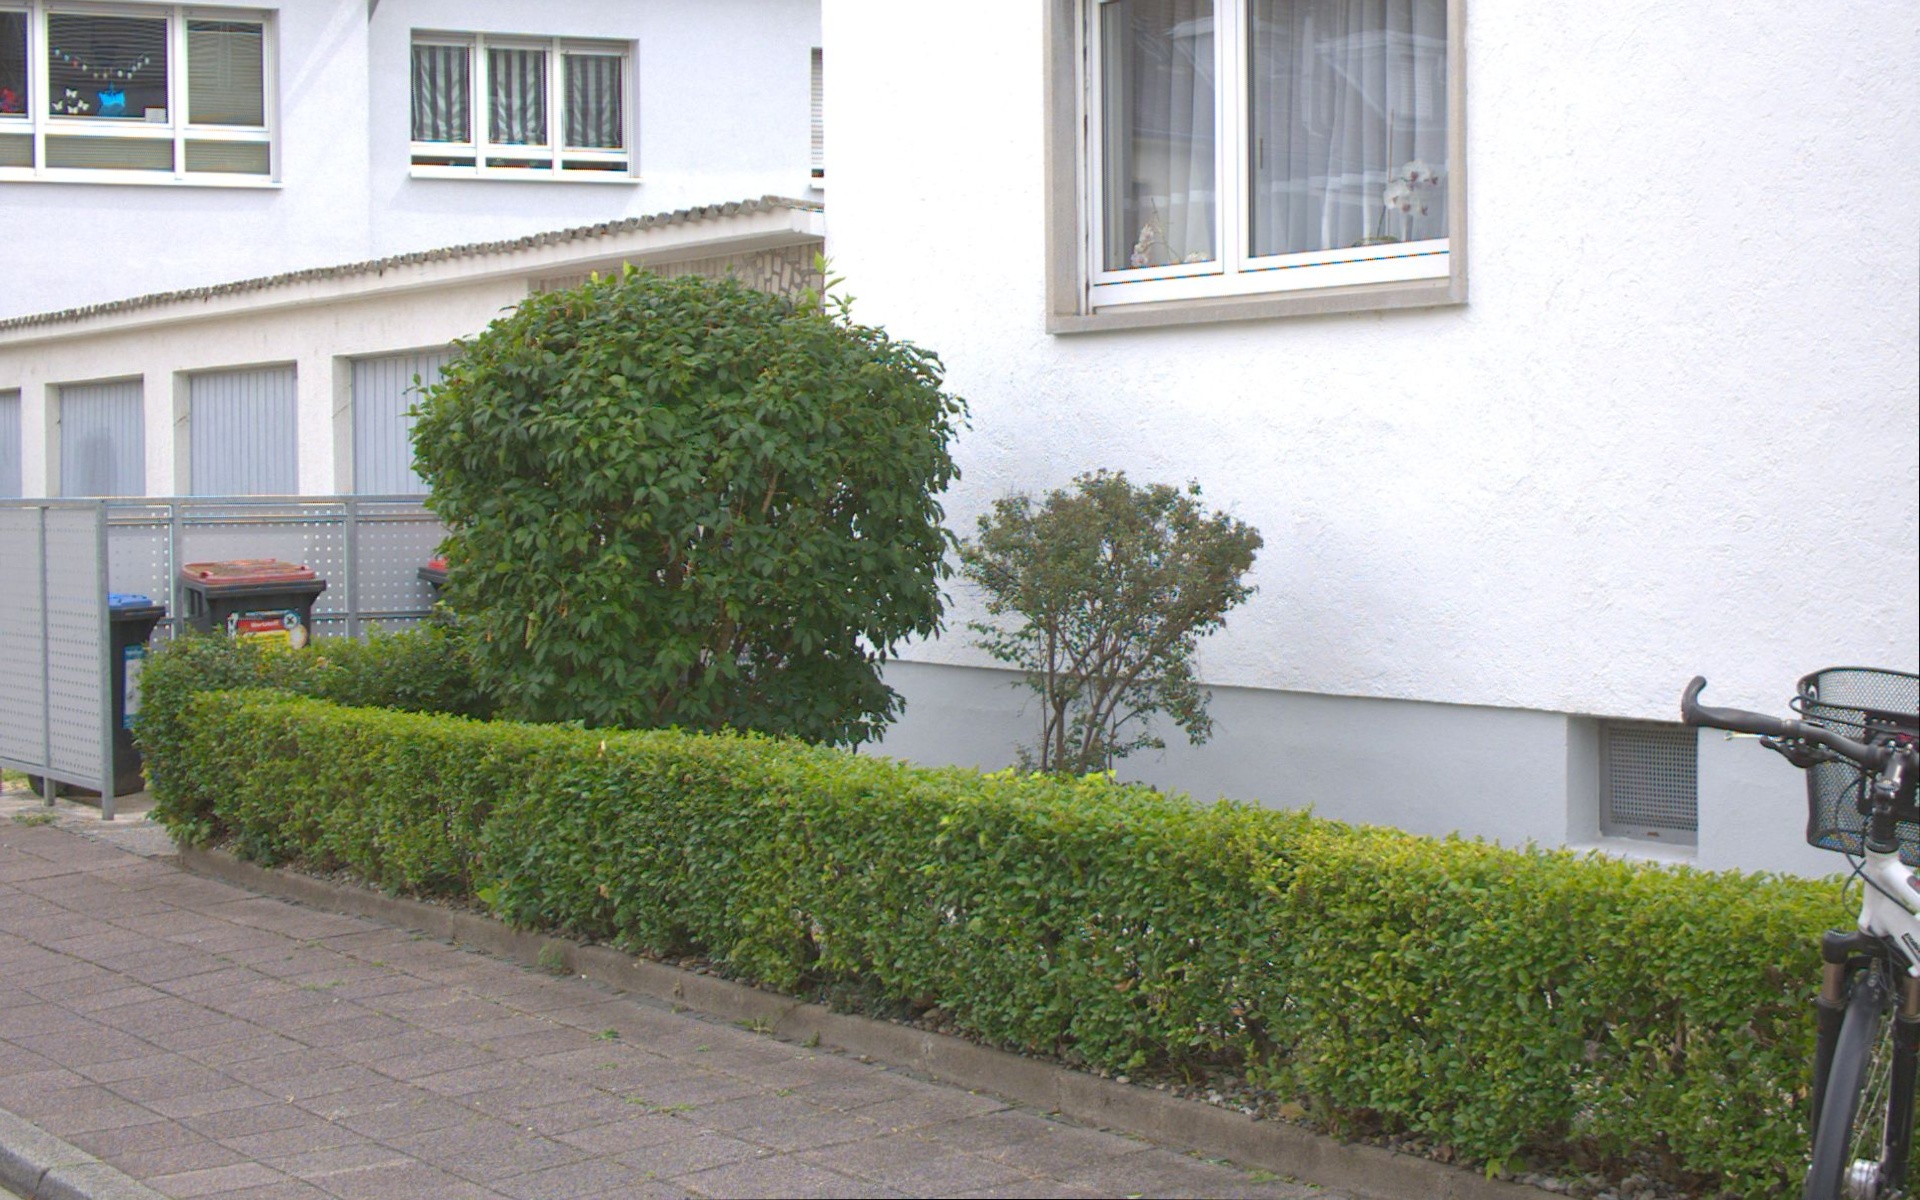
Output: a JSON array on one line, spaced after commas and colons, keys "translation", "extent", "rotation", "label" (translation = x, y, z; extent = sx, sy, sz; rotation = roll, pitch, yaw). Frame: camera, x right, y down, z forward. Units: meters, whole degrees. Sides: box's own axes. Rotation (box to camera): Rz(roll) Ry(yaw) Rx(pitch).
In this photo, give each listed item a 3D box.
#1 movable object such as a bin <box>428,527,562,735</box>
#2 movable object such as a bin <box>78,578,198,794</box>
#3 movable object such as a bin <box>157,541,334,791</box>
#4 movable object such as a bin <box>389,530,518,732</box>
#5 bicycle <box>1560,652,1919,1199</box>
[{"translation": [-2.228, 0.143, 16.455], "extent": [0.453, 0.970, 0.507], "rotation": [-2, 1, -30], "label": "movable object such as a bin"}, {"translation": [-3.809, 0.389, 15.925], "extent": [0.389, 0.970, 0.515], "rotation": [-2, 1, -30], "label": "movable object such as a bin"}, {"translation": [-3.372, 0.299, 16.202], "extent": [0.579, 1.133, 0.755], "rotation": [-2, 1, -30], "label": "movable object such as a bin"}, {"translation": [-2.492, 0.147, 16.914], "extent": [0.453, 0.970, 0.507], "rotation": [-2, 1, -30], "label": "movable object such as a bin"}, {"translation": [1.558, 0.673, 4.619], "extent": [0.434, 1.175, 1.638], "rotation": [-2, 1, -35], "label": "bicycle"}]
